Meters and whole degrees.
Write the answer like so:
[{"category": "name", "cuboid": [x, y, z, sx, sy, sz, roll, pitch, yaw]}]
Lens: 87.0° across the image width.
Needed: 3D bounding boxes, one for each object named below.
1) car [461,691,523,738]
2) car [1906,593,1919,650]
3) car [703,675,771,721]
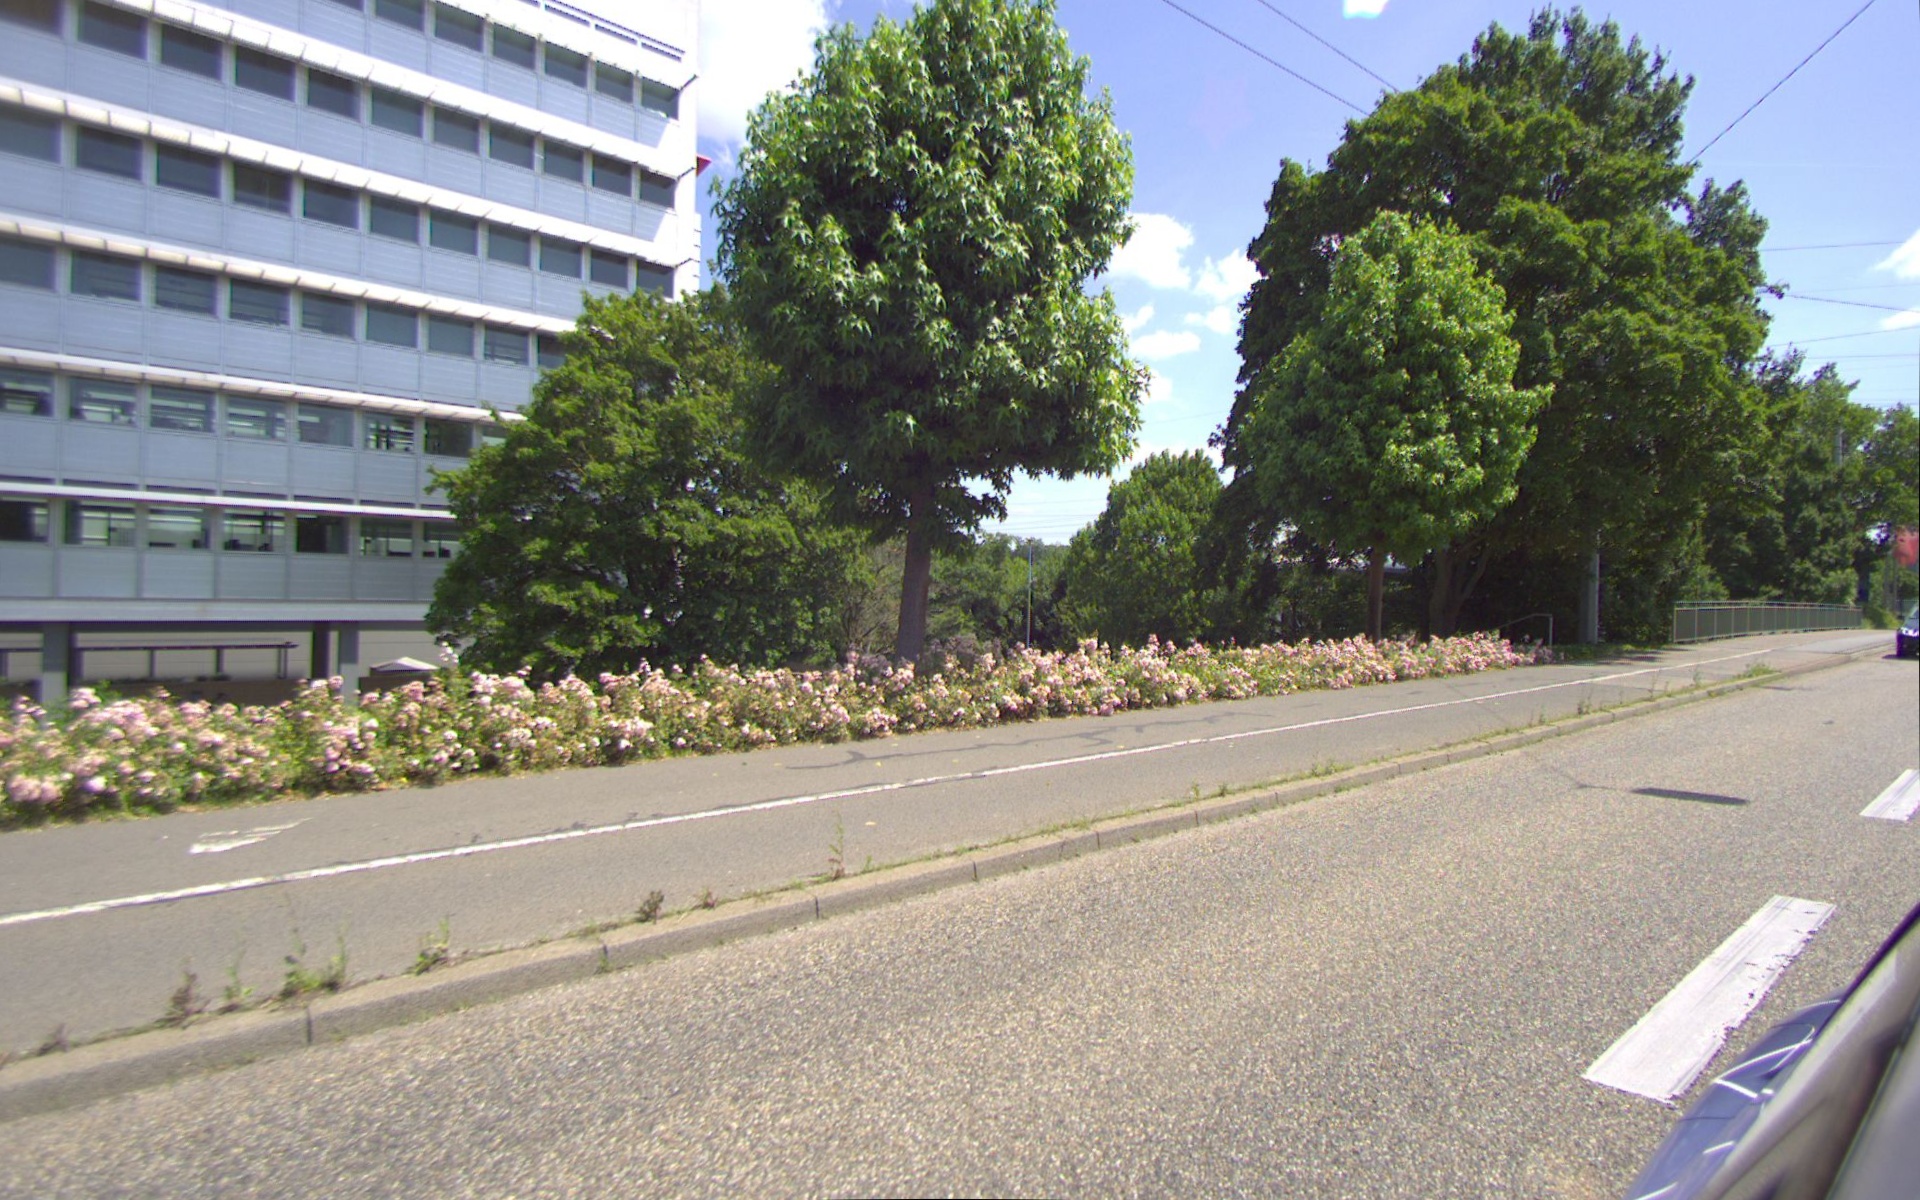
[{"category": "car", "cuboid": [-17.426, 4.210, 37.620, 1.431, 1.302, 3.374, 0, 0, -36]}, {"category": "car", "cuboid": [26.252, 0.586, 26.519, 3.930, 1.448, 1.770, 1, 0, -42]}, {"category": "car", "cuboid": [-9.960, 4.326, 45.065, 1.565, 1.612, 3.372, 3, 0, -39]}]
